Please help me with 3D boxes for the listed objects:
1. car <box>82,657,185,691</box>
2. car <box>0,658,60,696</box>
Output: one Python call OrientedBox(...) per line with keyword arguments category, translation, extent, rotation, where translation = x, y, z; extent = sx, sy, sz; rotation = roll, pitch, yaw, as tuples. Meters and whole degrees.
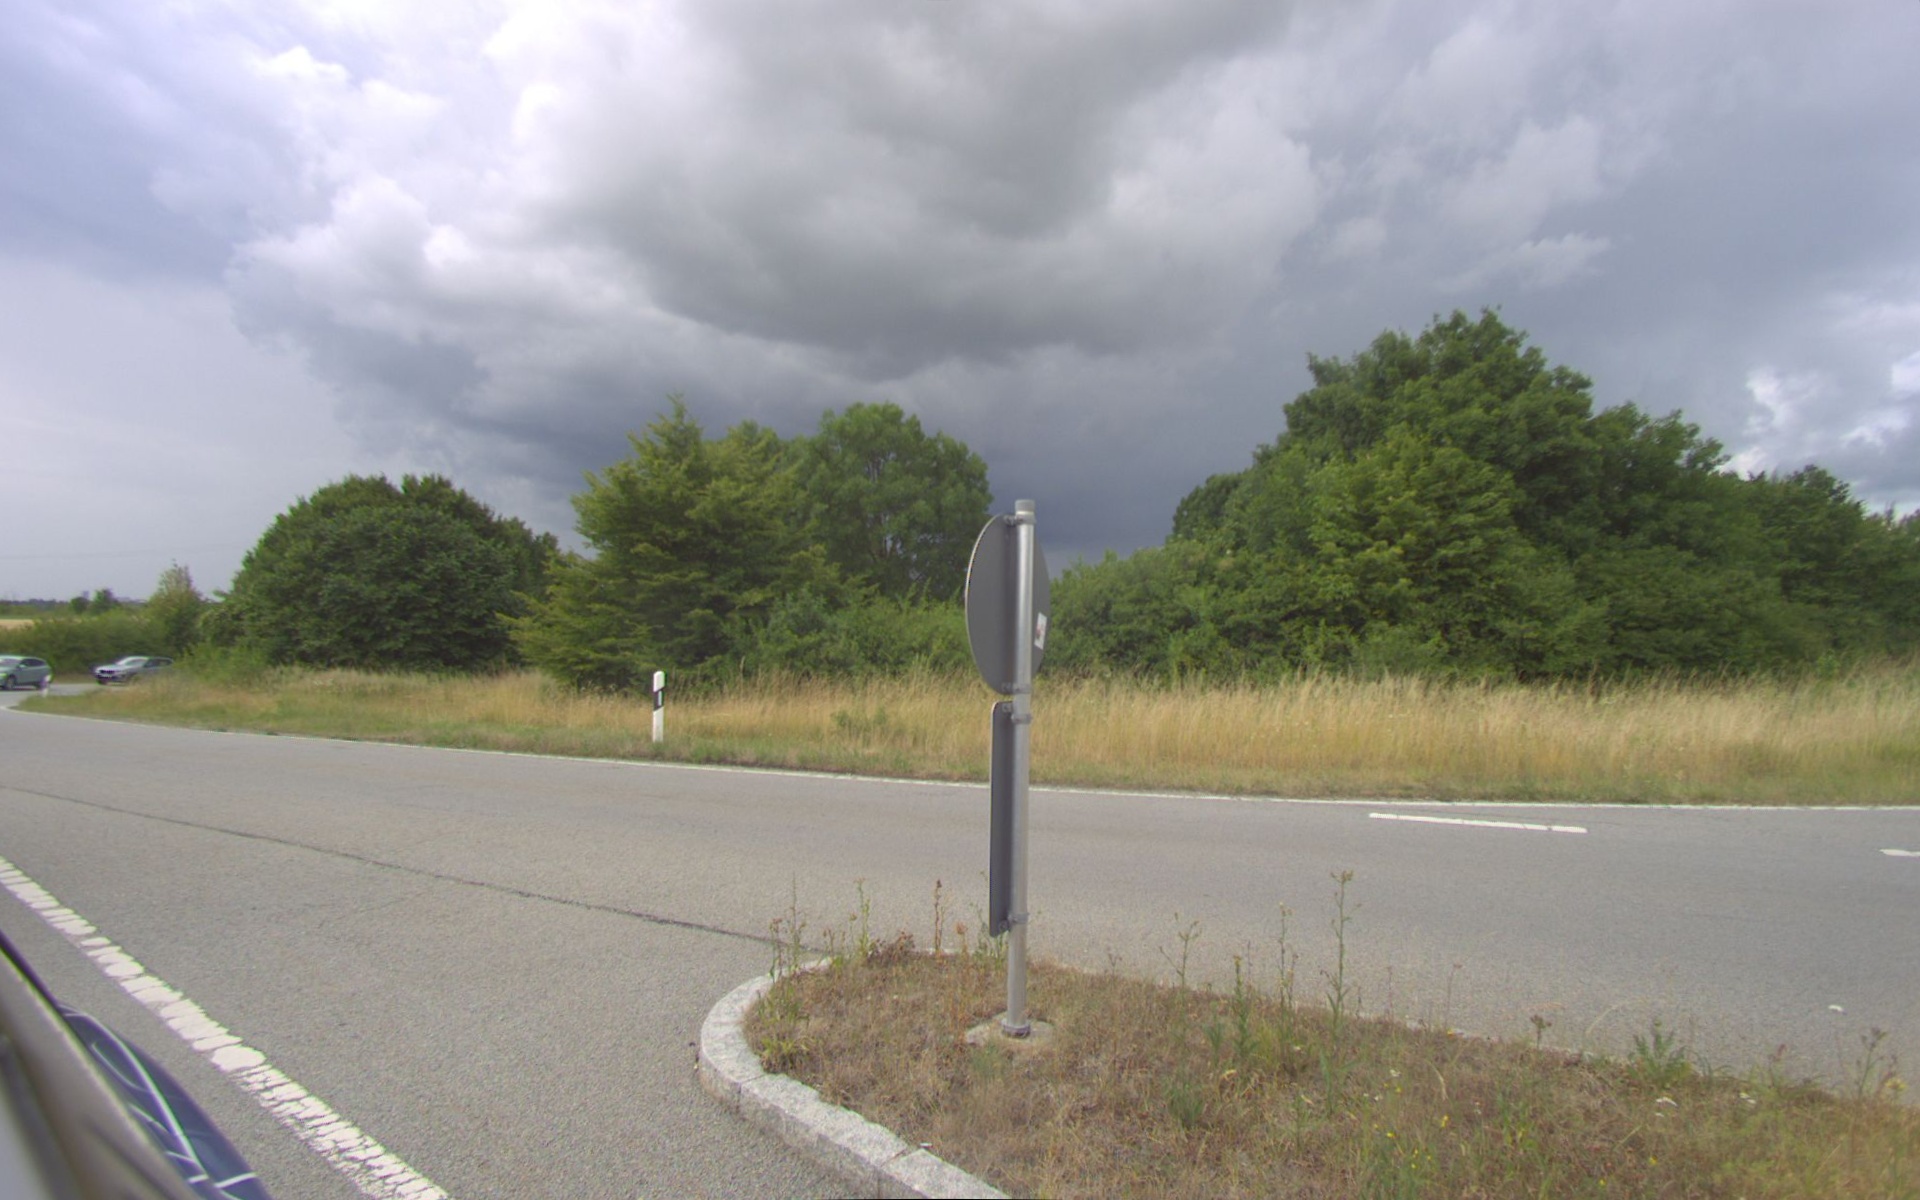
OrientedBox(category="car", translation=(-48.385, 4.295, 59.402), extent=(1.970, 1.732, 5.212), rotation=(3, -3, -4))
OrientedBox(category="car", translation=(-46.291, 3.687, 49.023), extent=(1.966, 1.733, 5.223), rotation=(4, -5, -17))
